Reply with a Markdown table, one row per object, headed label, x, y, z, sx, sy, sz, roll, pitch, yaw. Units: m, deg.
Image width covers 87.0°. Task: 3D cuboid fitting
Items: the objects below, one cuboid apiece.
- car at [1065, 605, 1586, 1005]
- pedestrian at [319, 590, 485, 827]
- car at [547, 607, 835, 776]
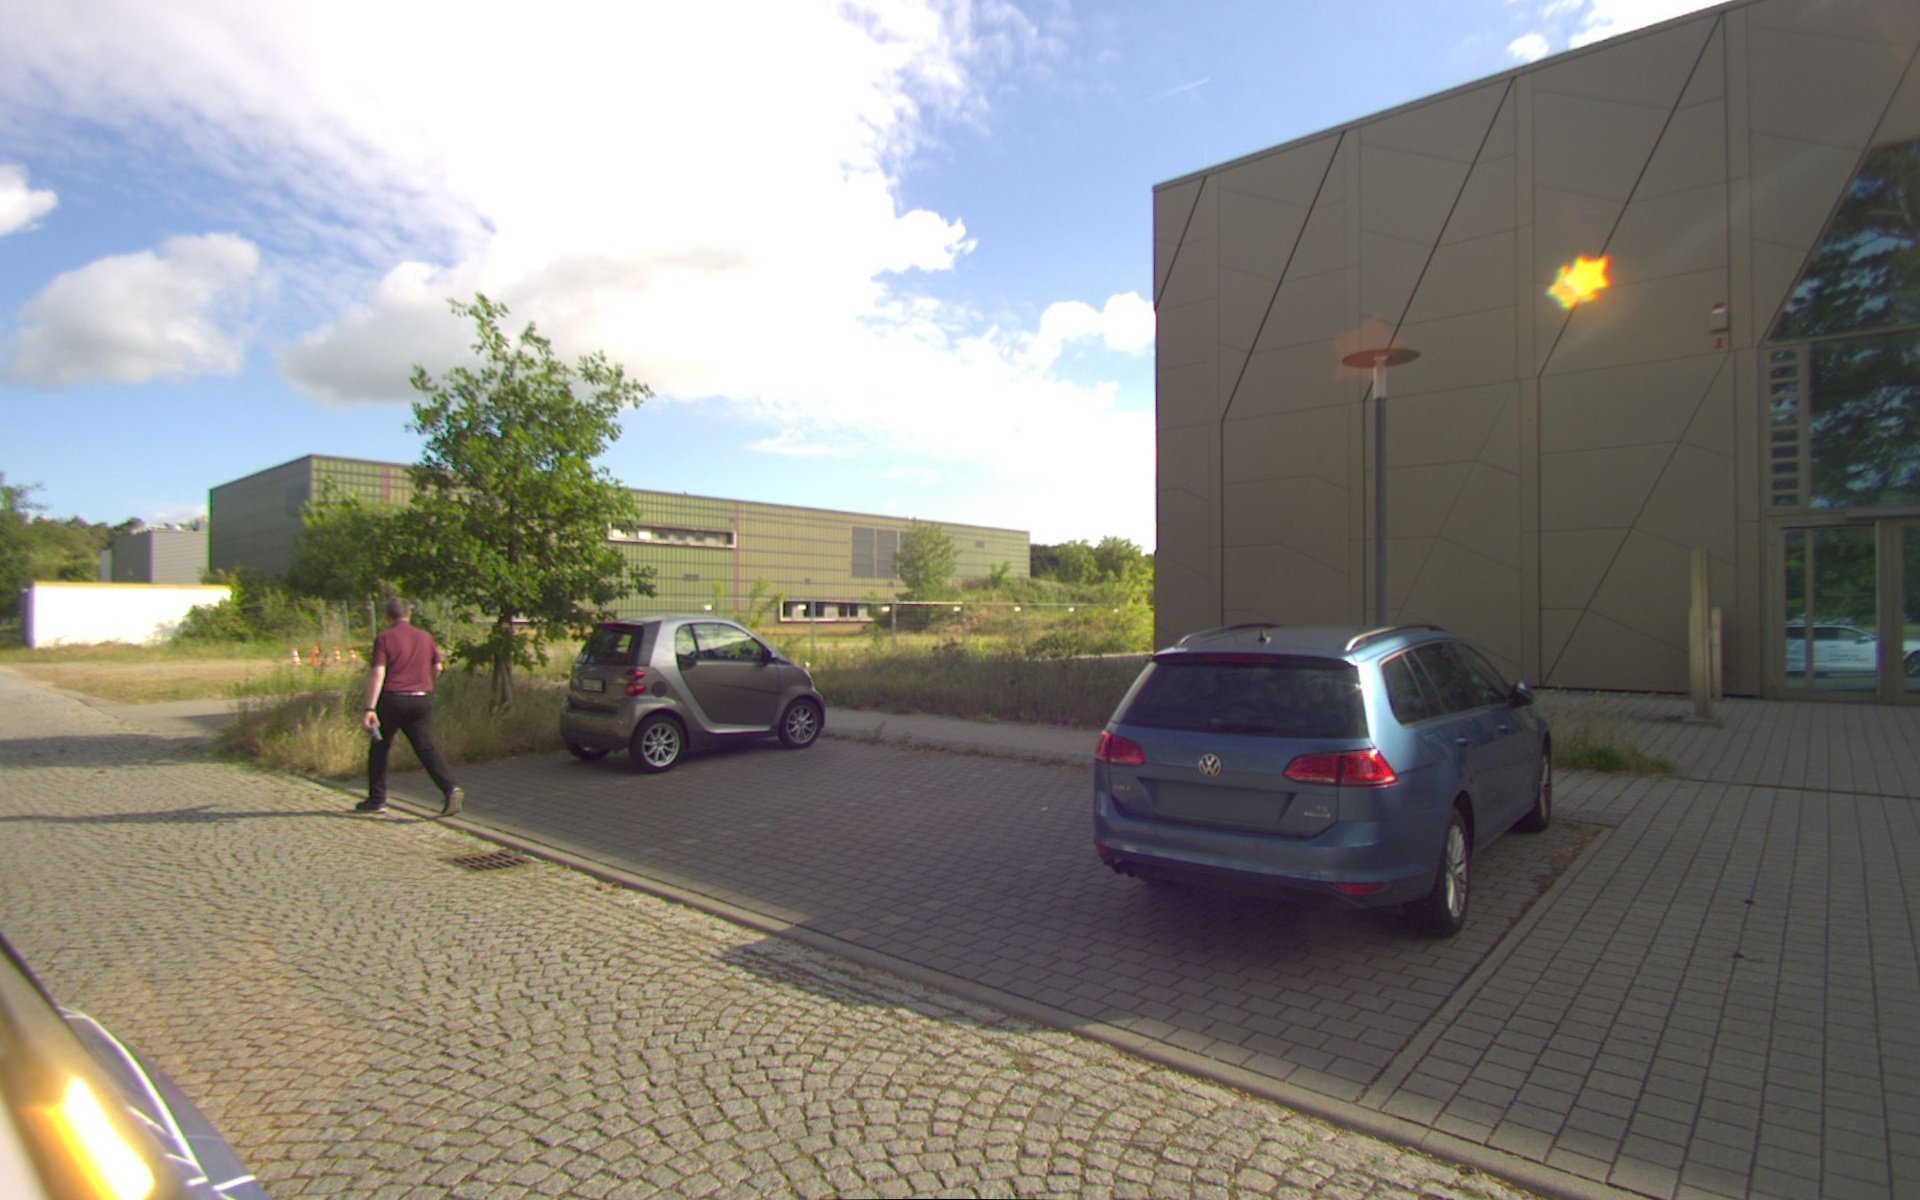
| label | x | y | z | sx | sy | sz | roll | pitch | yaw |
| --- | --- | --- | --- | --- | --- | --- | --- | --- | --- |
| car | 2.503 | 0.822 | 6.138 | 1.679 | 1.475 | 4.215 | -1 | 0 | 39 |
| pedestrian | -4.590 | 0.832 | 8.319 | 1.151 | 1.785 | 0.796 | -1 | -2 | 38 |
| car | -2.896 | 0.887 | 11.169 | 1.518 | 1.554 | 2.671 | -1 | 0 | 41 |
